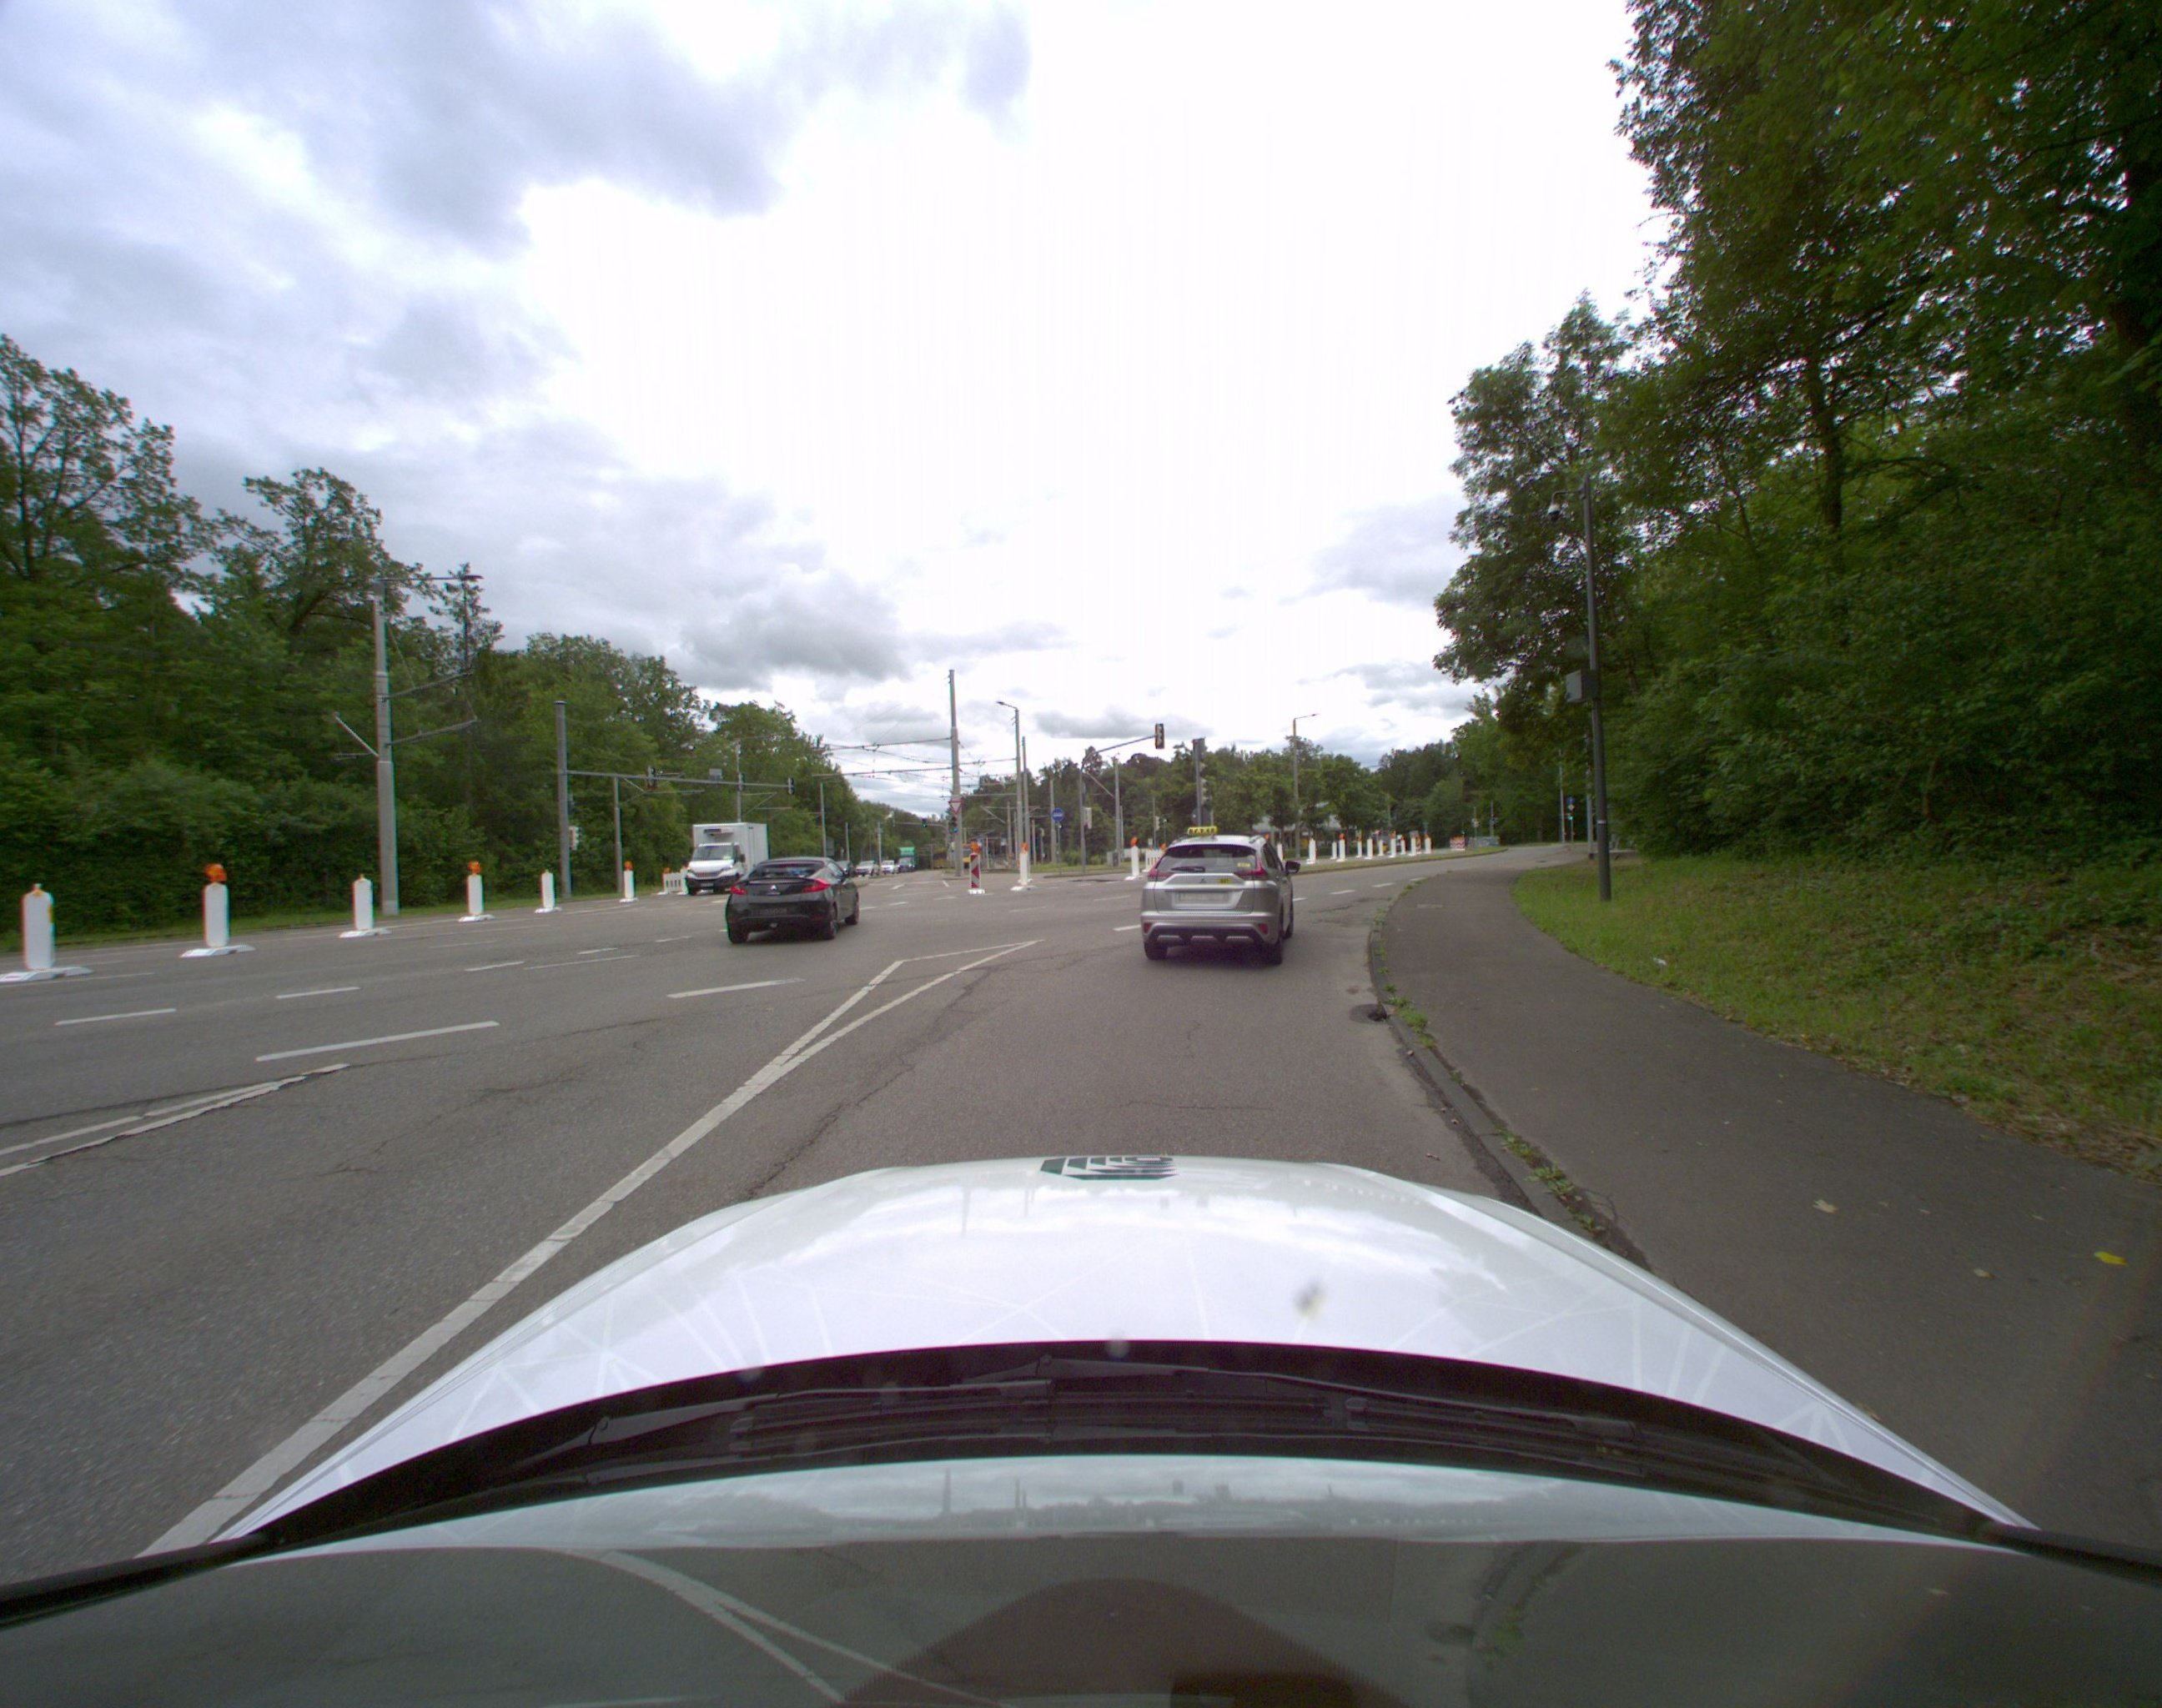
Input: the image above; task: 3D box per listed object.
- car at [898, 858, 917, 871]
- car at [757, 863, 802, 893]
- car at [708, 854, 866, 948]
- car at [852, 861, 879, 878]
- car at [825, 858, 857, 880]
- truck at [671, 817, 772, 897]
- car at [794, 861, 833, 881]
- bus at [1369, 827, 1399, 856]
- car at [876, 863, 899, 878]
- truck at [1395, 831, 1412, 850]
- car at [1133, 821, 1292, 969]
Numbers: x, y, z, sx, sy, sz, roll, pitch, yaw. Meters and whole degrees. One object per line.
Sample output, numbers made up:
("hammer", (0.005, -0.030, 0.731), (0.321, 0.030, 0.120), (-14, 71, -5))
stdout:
("car", (-22.489, 1.379, 105.518), (1.960, 1.540, 4.299), (-3, 0, -7))
("car", (-19.430, 1.489, 52.611), (1.964, 1.750, 4.825), (-3, 0, -12))
("car", (-5.059, 0.750, 14.505), (1.772, 1.361, 3.469), (-3, 0, -6))
("car", (-22.148, 1.580, 83.828), (1.960, 1.607, 4.299), (-3, 0, -7))
("car", (-21.378, 1.292, 72.713), (1.960, 1.845, 4.678), (-3, 0, -7))
("truck", (-16.335, 0.158, 37.563), (2.449, 3.224, 7.130), (-3, 0, -10))
("car", (-20.904, 1.302, 63.763), (1.960, 1.361, 4.678), (-3, 0, -7))
("bus", (42.070, -1.744, 113.444), (2.800, 3.603, 12.859), (-2, 0, 16))
("car", (-21.622, 1.825, 91.148), (1.960, 1.541, 4.385), (-3, 0, -7))
("truck", (59.975, -2.504, 151.646), (2.463, 3.286, 8.561), (-3, 0, 19))
("car", (2.038, 0.500, 11.680), (1.760, 1.748, 3.797), (-1, 0, 16))
